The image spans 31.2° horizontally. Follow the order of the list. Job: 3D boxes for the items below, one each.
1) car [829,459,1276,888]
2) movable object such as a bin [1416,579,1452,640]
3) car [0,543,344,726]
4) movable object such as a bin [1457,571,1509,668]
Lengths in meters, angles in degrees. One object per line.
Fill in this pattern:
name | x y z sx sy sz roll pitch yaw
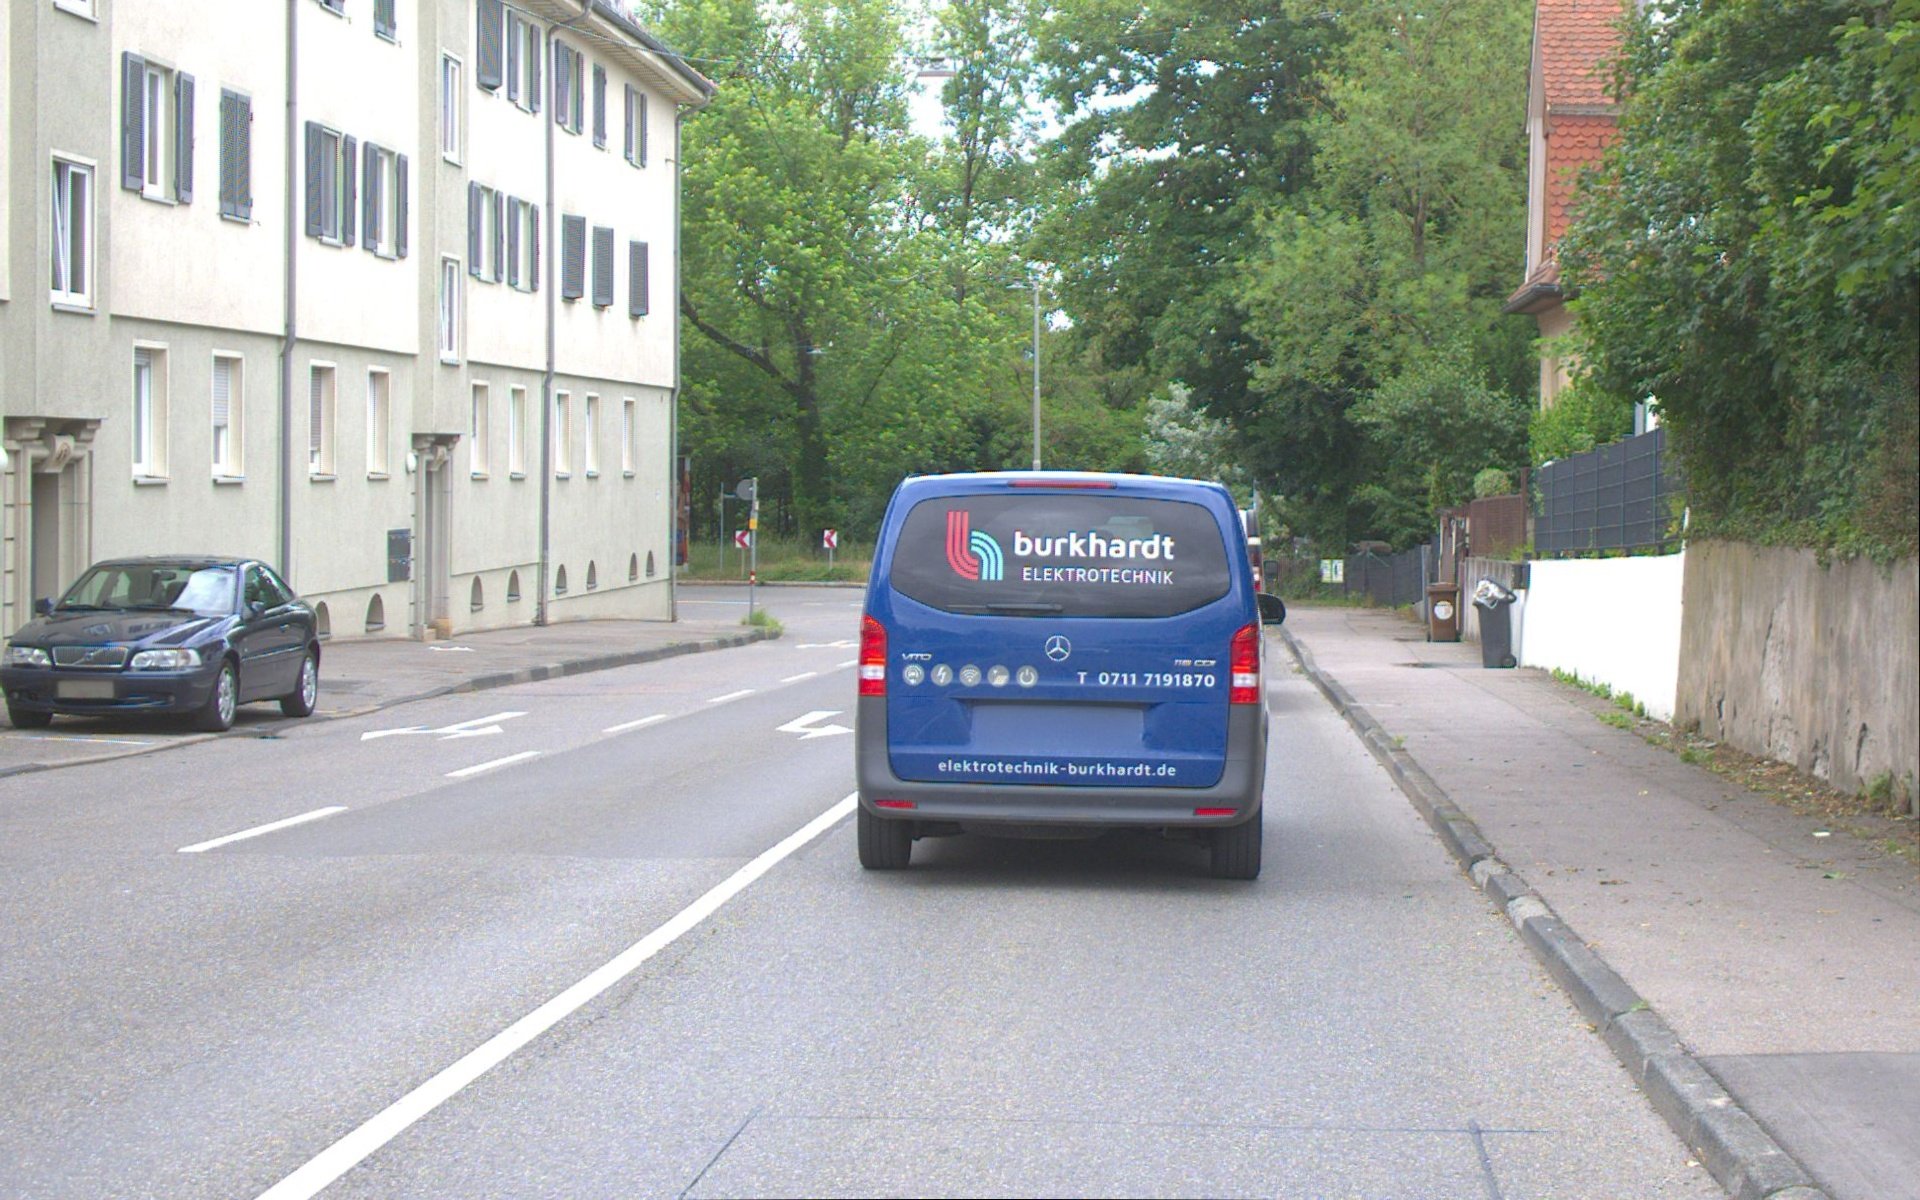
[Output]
car | 0.467 0.304 17.073 1.913 1.831 4.293 1 0 2
movable object such as a bin | 7.316 0.146 53.051 0.461 0.921 0.566 -3 1 3
car | -6.647 0.275 29.069 1.710 1.398 4.845 1 0 4
movable object such as a bin | 6.502 0.235 42.735 0.528 1.174 0.634 -3 1 3
